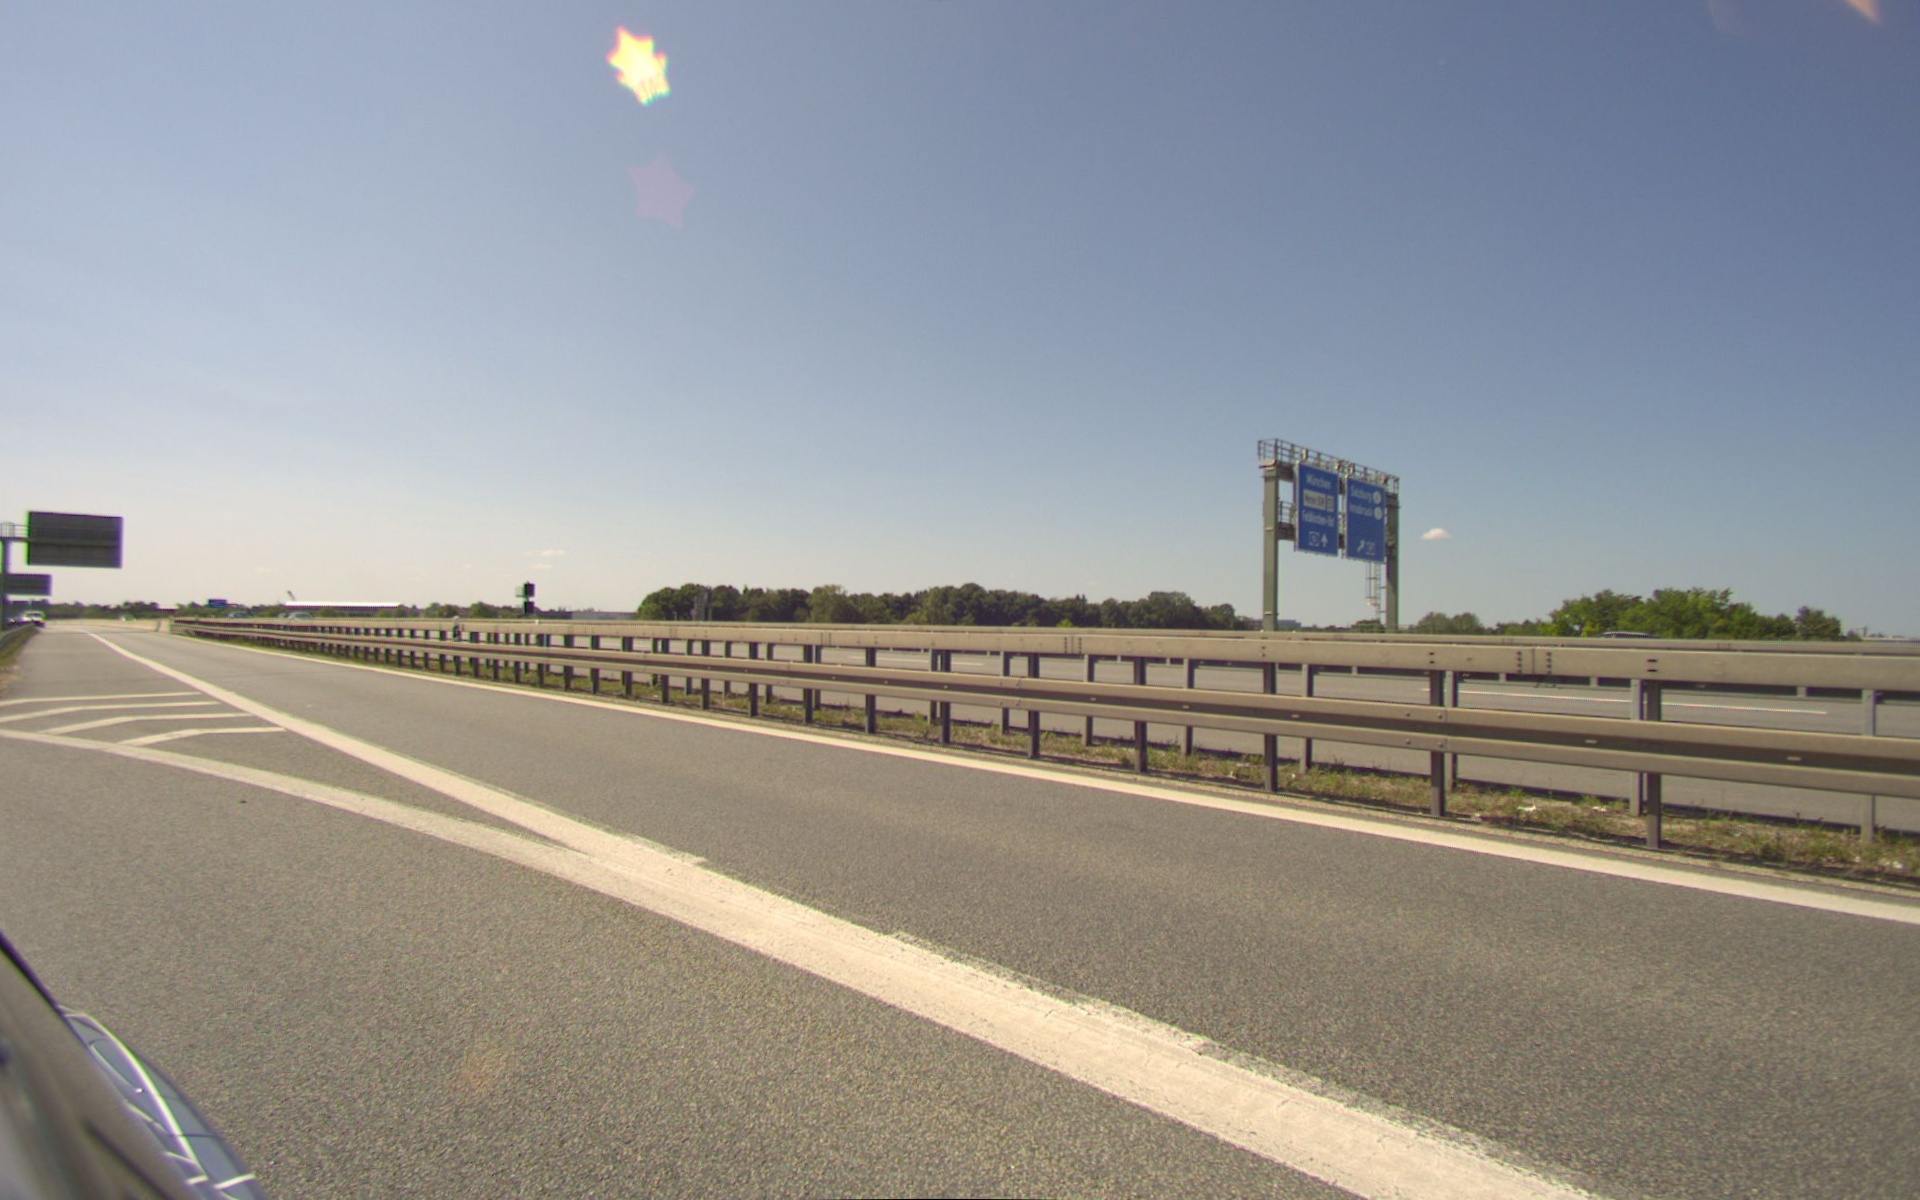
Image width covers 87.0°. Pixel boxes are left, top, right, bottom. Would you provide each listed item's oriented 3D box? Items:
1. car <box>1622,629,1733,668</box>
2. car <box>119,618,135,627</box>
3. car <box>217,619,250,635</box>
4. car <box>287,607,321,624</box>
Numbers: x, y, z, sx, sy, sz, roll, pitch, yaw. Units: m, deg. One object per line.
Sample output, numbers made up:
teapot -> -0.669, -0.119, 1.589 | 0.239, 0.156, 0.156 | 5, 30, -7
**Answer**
car -> 30.550, 2.033, 43.134 | 1.604, 1.367, 3.620 | 2, 0, -44
car -> -146.879, 3.939, 178.473 | 1.817, 1.529, 4.578 | 1, -1, -45
car -> -67.084, 2.483, 93.463 | 4.219, 1.443, 1.809 | 0, -1, 45
car -> -59.767, 1.408, 92.173 | 1.742, 1.433, 4.219 | 1, -1, -45
